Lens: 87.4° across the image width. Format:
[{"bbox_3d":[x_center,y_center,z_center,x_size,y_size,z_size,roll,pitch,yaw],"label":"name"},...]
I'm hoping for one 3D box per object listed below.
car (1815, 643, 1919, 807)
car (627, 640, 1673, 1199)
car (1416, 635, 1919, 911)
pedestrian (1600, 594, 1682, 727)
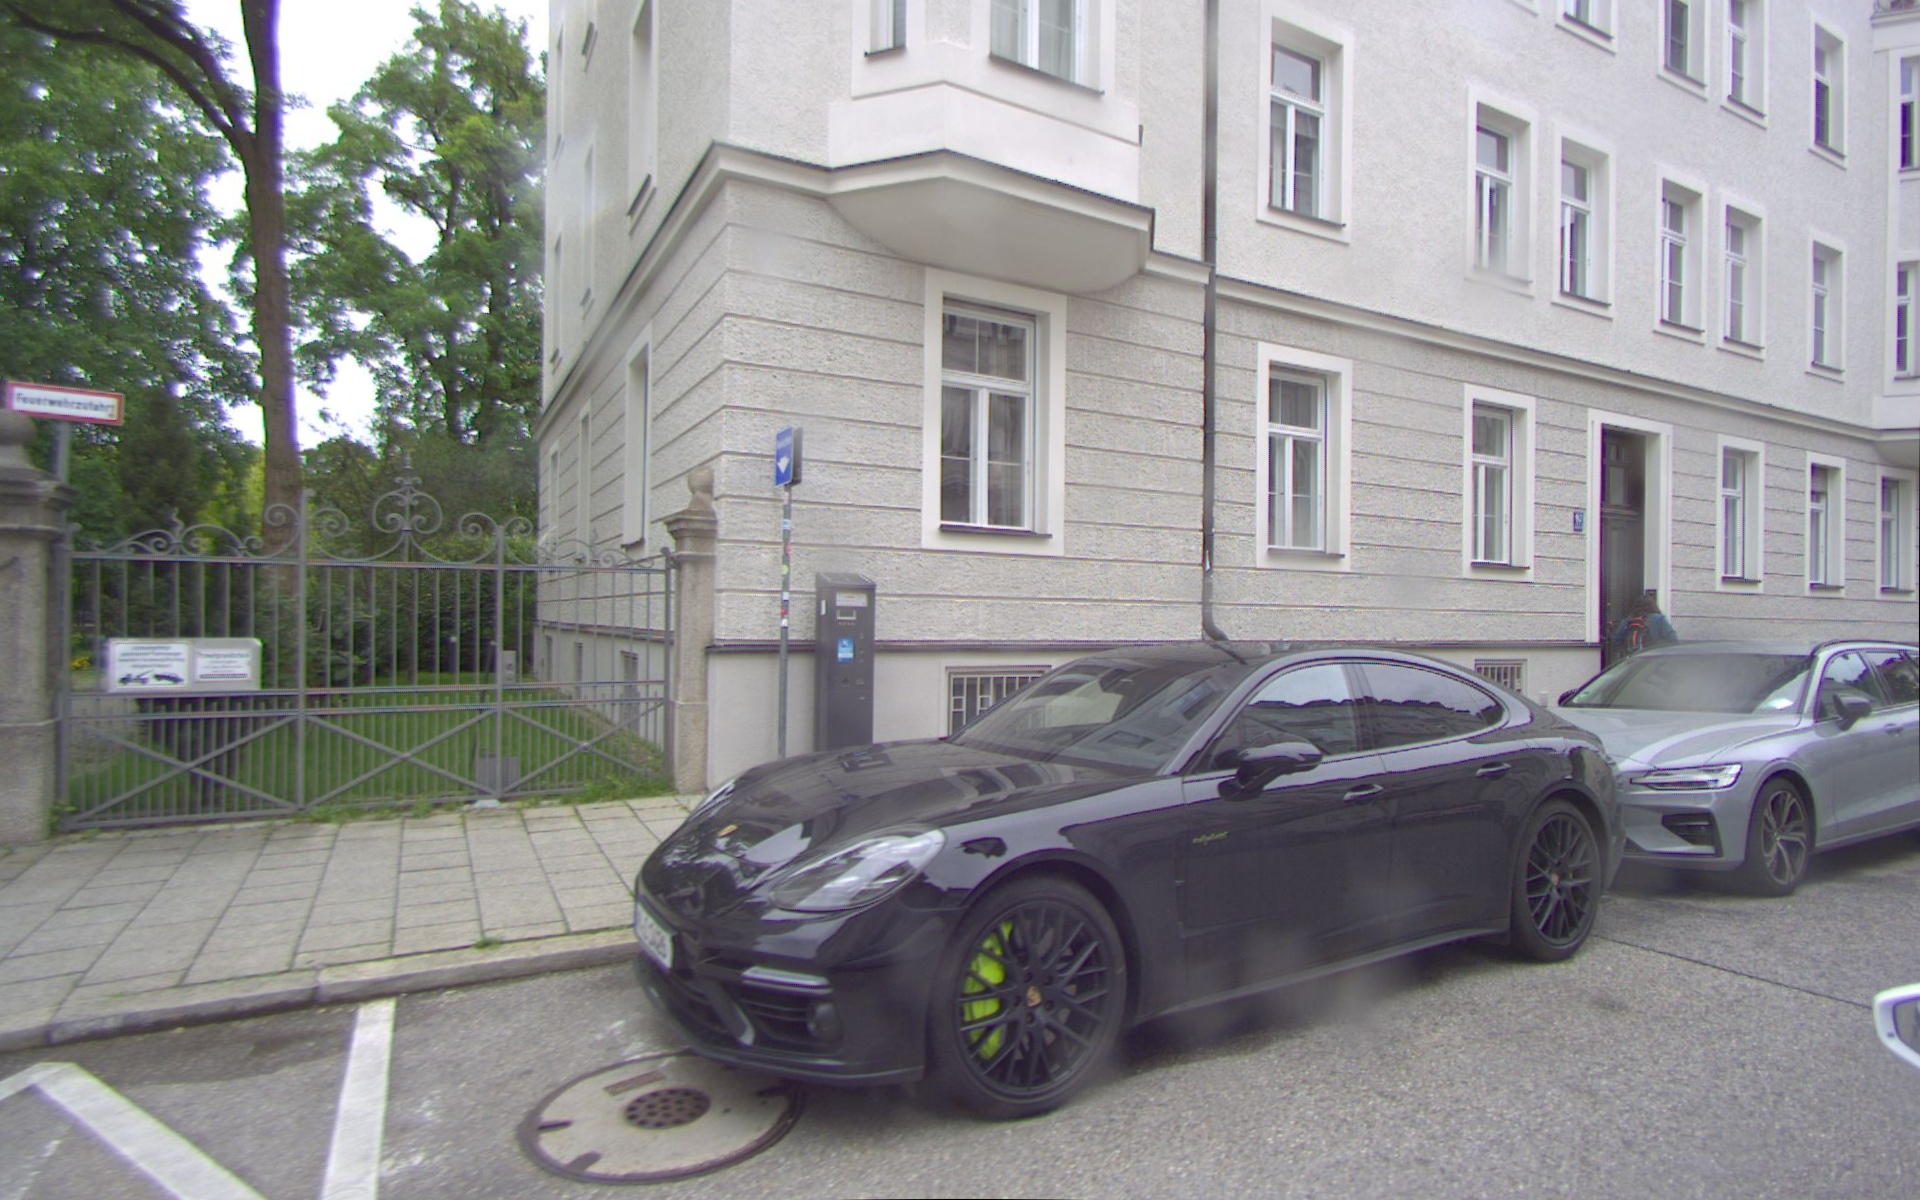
[{"bbox_3d":[10.227,1.114,9.656,4.394,1.403,1.801,1,-3,-32],"label":"car"},{"bbox_3d":[1.073,0.906,4.569,4.647,1.385,1.841,1,-1,-31],"label":"car"},{"bbox_3d":[5.503,1.012,7.129,4.454,1.438,1.788,2,-4,-28],"label":"car"},{"bbox_3d":[9.141,0.795,13.493,0.657,1.729,0.694,1,-1,-30],"label":"pedestrian"}]
